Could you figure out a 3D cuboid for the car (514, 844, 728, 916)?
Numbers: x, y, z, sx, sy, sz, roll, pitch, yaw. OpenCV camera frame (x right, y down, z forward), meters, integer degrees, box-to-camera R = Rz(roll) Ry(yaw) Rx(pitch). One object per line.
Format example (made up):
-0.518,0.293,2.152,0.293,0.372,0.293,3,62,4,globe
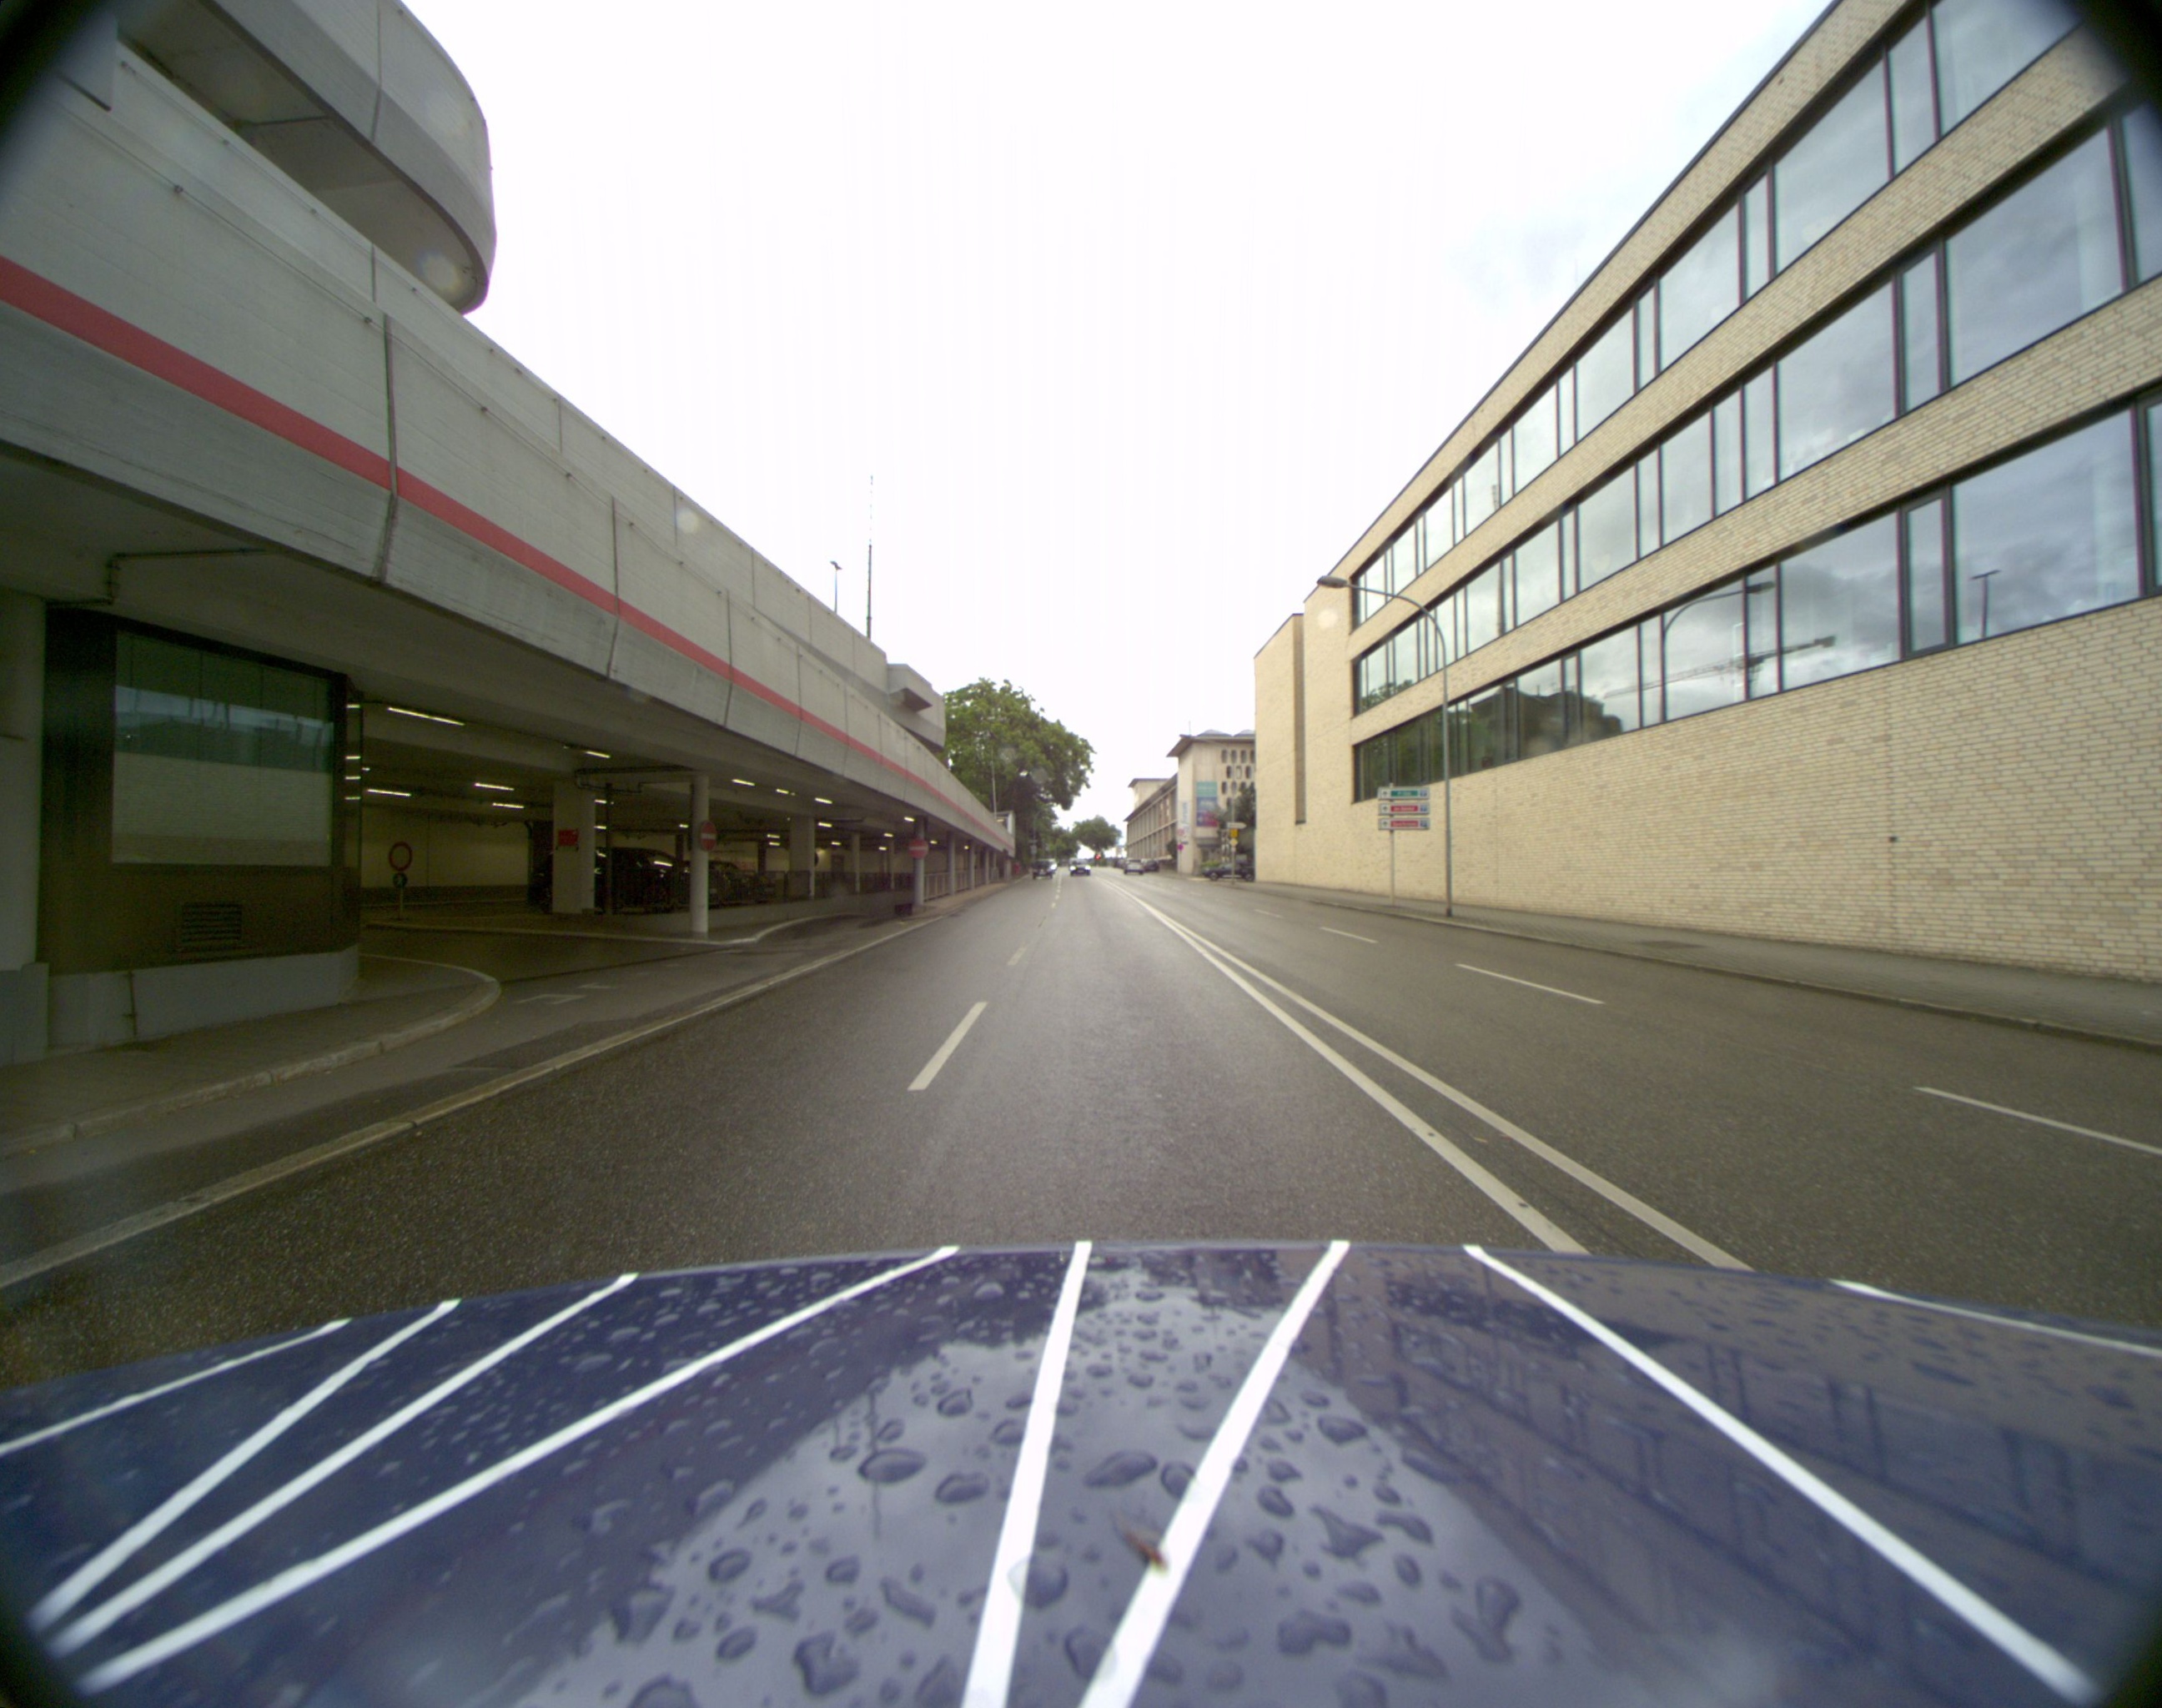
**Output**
-11.385,0.696,18.951,4.251,1.650,2.003,-1,-4,10,car

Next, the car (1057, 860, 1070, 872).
-2.472,1.728,108.722,1.727,1.628,3.999,-2,1,1,car

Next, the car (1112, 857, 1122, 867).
6.698,1.495,142.546,1.698,1.715,3.756,-2,1,1,car

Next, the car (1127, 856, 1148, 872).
5.701,0.979,77.359,1.800,1.516,4.056,-2,-1,1,car

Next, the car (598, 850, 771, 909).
-11.916,0.820,22.975,4.251,1.650,2.003,-1,-4,10,car

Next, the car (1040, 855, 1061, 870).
-3.183,0.851,80.119,1.915,1.443,4.036,-2,1,0,car

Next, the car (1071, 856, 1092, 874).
0.055,1.035,69.103,1.852,1.516,3.990,-2,-1,1,car

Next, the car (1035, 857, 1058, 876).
-2.827,1.028,62.970,1.683,1.516,3.990,-2,-1,1,car

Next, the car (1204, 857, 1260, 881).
11.416,1.134,57.451,3.992,1.652,1.863,-1,0,16,car

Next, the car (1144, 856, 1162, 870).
8.635,1.076,91.039,1.800,1.516,4.056,-2,-1,1,car
